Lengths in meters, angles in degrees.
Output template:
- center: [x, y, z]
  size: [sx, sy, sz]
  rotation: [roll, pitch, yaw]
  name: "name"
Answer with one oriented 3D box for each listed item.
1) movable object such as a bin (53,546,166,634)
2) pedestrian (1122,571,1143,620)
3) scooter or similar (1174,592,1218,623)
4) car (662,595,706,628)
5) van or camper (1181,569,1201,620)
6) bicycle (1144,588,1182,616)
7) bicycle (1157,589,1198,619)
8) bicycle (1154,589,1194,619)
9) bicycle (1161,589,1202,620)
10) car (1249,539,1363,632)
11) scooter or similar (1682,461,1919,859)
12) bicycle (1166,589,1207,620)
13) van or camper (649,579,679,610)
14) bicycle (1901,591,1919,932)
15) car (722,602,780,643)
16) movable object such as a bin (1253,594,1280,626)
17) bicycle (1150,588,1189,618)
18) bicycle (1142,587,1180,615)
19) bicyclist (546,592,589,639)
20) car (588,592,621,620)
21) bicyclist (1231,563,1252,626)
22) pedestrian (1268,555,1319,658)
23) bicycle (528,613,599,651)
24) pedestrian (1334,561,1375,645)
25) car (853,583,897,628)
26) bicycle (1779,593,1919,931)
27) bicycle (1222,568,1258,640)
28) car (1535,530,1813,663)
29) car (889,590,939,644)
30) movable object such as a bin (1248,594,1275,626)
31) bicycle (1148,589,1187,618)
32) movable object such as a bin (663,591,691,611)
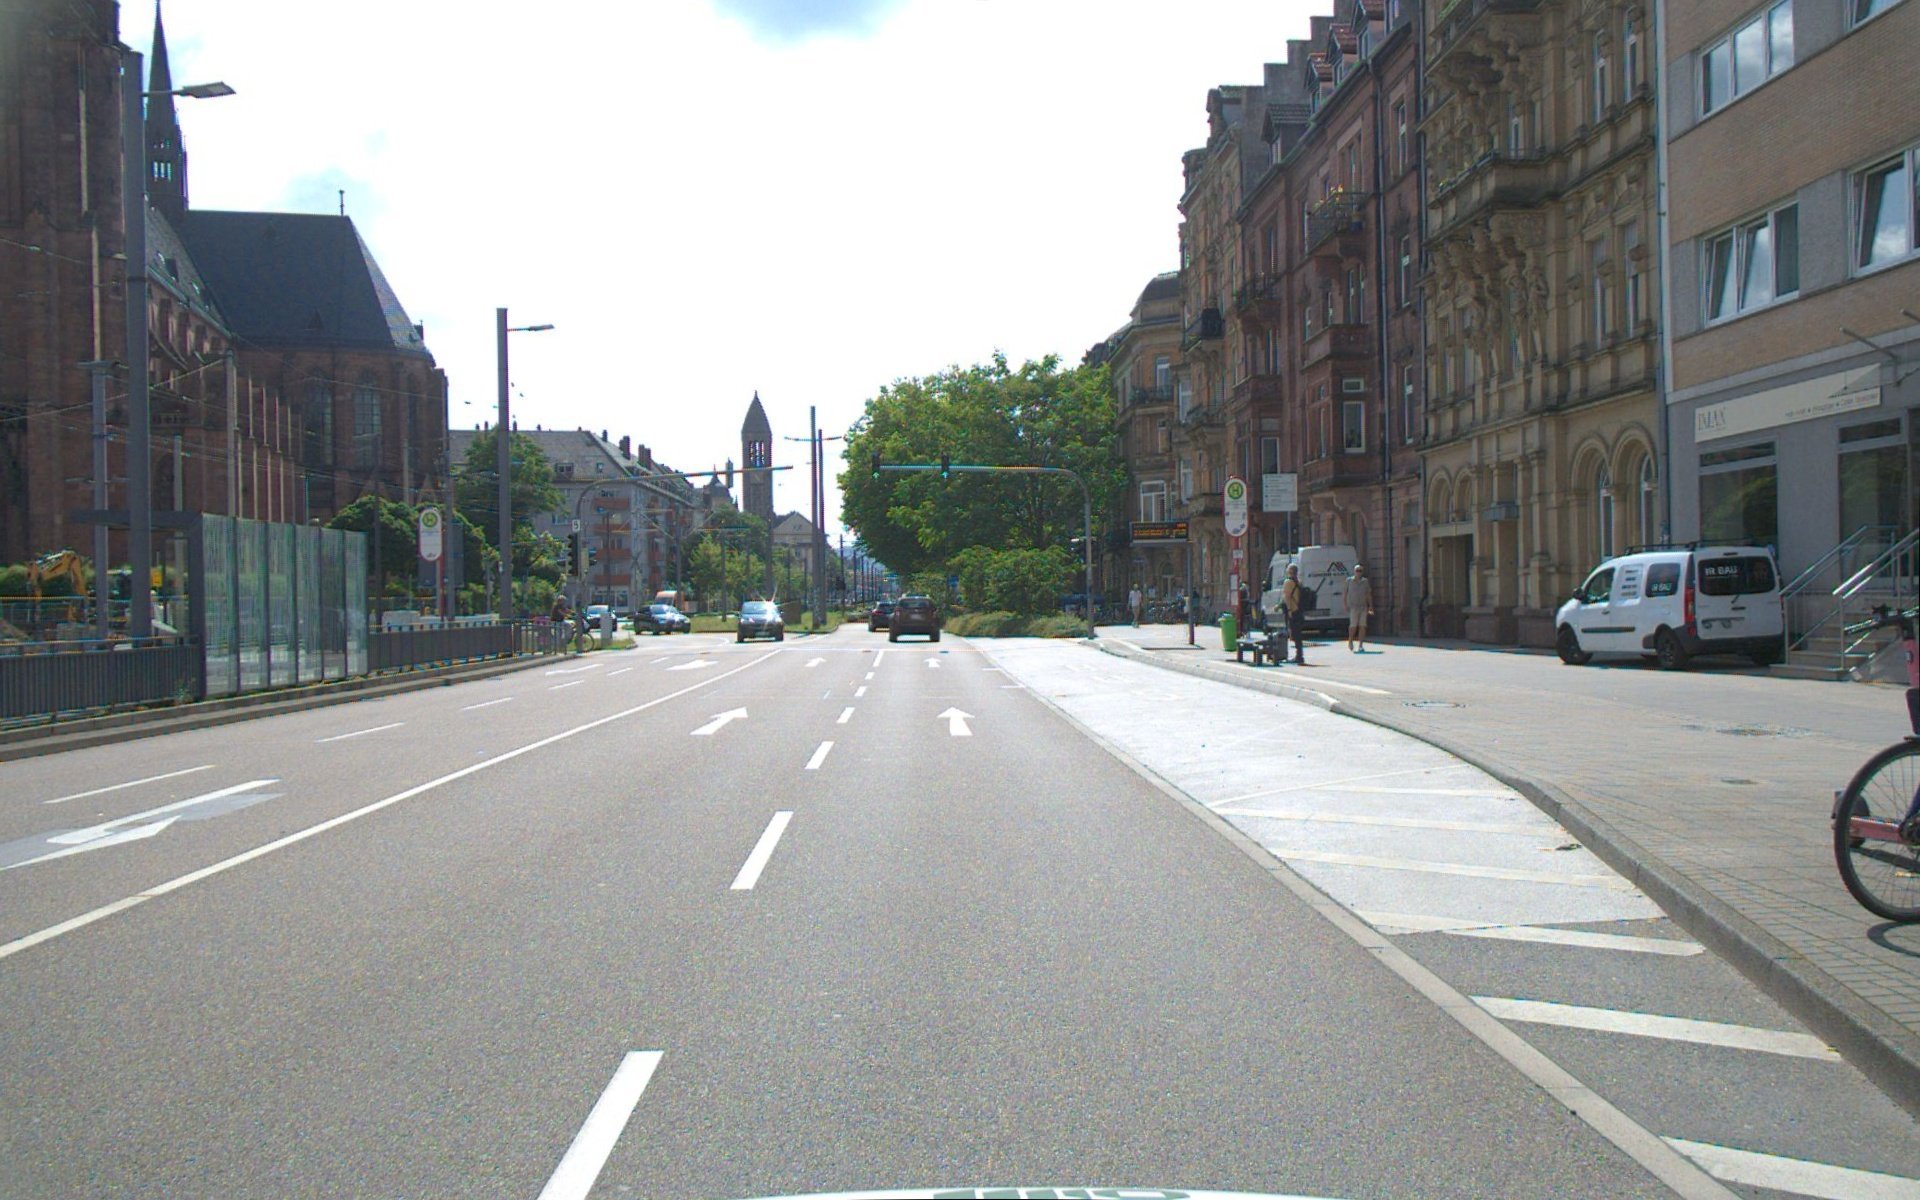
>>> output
- center: [-32.075, -0.436, 62.507]
  size: [1.952, 3.159, 4.002]
  rotation: [-1, 2, 2]
  name: "movable object such as a bin"
- center: [7.317, -0.177, 70.004]
  size: [0.752, 2.049, 0.715]
  rotation: [-2, 0, -1]
  name: "pedestrian"
- center: [9.987, 0.335, 69.905]
  size: [1.734, 1.205, 0.466]
  rotation: [-3, -1, -2]
  name: "scooter or similar"
- center: [-14.130, 0.569, 84.866]
  size: [1.782, 1.579, 4.556]
  rotation: [-1, 0, -4]
  name: "car"
- center: [9.480, -0.227, 67.879]
  size: [0.652, 2.049, 0.638]
  rotation: [-2, 0, -2]
  name: "van or camper"
- center: [9.444, 0.096, 77.039]
  size: [1.732, 1.290, 0.467]
  rotation: [-1, 2, 1]
  name: "bicycle"
- center: [9.705, 0.160, 73.830]
  size: [1.732, 1.290, 0.467]
  rotation: [-1, 2, 1]
  name: "bicycle"
- center: [9.635, 0.165, 74.601]
  size: [1.732, 1.290, 0.467]
  rotation: [-1, 2, 1]
  name: "bicycle"
- center: [9.791, 0.198, 73.156]
  size: [1.709, 1.290, 0.467]
  rotation: [-1, 2, 1]
  name: "bicycle"
- center: [10.130, -0.422, 48.959]
  size: [1.953, 2.569, 5.886]
  rotation: [-1, 0, -2]
  name: "car"
- center: [4.338, 0.270, 8.328]
  size: [0.390, 1.818, 1.532]
  rotation: [-1, 0, -14]
  name: "scooter or similar"
- center: [9.919, 0.200, 72.578]
  size: [1.732, 1.290, 0.467]
  rotation: [-1, 2, 1]
  name: "bicycle"
- center: [-27.553, -0.541, 154.286]
  size: [2.212, 2.785, 6.196]
  rotation: [-1, 0, -6]
  name: "van or camper"
- center: [4.490, 0.577, 6.212]
  size: [1.891, 1.259, 0.440]
  rotation: [-2, 2, -14]
  name: "bicycle"
- center: [-7.784, 0.822, 61.776]
  size: [1.878, 1.442, 3.738]
  rotation: [-1, 0, -4]
  name: "car"
- center: [10.979, 0.369, 59.332]
  size: [0.770, 1.127, 0.776]
  rotation: [-1, 0, -4]
  name: "movable object such as a bin"
- center: [9.535, 0.137, 75.400]
  size: [1.732, 1.290, 0.467]
  rotation: [-1, 2, 1]
  name: "bicycle"
- center: [9.433, 0.041, 77.758]
  size: [1.732, 1.290, 0.467]
  rotation: [-1, 2, 1]
  name: "bicycle"
- center: [-12.492, 0.499, 52.699]
  size: [1.066, 1.461, 0.825]
  rotation: [-1, 0, 8]
  name: "bicyclist"
- center: [-21.054, 0.332, 97.864]
  size: [1.768, 1.579, 4.280]
  rotation: [-1, 0, -14]
  name: "car"
- center: [7.900, -0.157, 46.412]
  size: [0.419, 1.749, 0.828]
  rotation: [-1, -1, -1]
  name: "bicyclist"
- center: [6.411, 0.127, 31.825]
  size: [0.653, 1.936, 0.690]
  rotation: [-2, 0, -20]
  name: "pedestrian"
- center: [-12.632, 1.006, 52.674]
  size: [1.975, 1.146, 0.932]
  rotation: [-1, 0, 8]
  name: "bicycle"
- center: [8.892, 0.062, 37.294]
  size: [0.650, 1.868, 0.693]
  rotation: [-2, 0, -8]
  name: "pedestrian"
- center: [-4.097, 0.245, 79.181]
  size: [1.954, 2.049, 3.996]
  rotation: [-2, 0, -5]
  name: "car"
- center: [4.315, 0.598, 6.727]
  size: [1.945, 1.259, 0.440]
  rotation: [-2, 2, -14]
  name: "bicycle"
- center: [7.849, 0.107, 46.421]
  size: [0.669, 1.959, 1.589]
  rotation: [-2, 0, -1]
  name: "bicycle"
- center: [11.310, -0.036, 26.628]
  size: [1.956, 1.894, 4.745]
  rotation: [-1, 0, -7]
  name: "car"
- center: [-1.698, 0.583, 60.313]
  size: [1.655, 1.741, 3.607]
  rotation: [-1, 2, -3]
  name: "car"
- center: [10.940, 0.364, 60.087]
  size: [0.770, 1.127, 0.776]
  rotation: [-1, 0, -4]
  name: "movable object such as a bin"
- center: [9.515, 0.147, 76.024]
  size: [1.732, 1.290, 0.467]
  rotation: [-1, 2, 1]
  name: "bicycle"
- center: [-27.408, 0.116, 160.416]
  size: [2.162, 1.723, 3.716]
  rotation: [-1, 2, -2]
  name: "movable object such as a bin"
